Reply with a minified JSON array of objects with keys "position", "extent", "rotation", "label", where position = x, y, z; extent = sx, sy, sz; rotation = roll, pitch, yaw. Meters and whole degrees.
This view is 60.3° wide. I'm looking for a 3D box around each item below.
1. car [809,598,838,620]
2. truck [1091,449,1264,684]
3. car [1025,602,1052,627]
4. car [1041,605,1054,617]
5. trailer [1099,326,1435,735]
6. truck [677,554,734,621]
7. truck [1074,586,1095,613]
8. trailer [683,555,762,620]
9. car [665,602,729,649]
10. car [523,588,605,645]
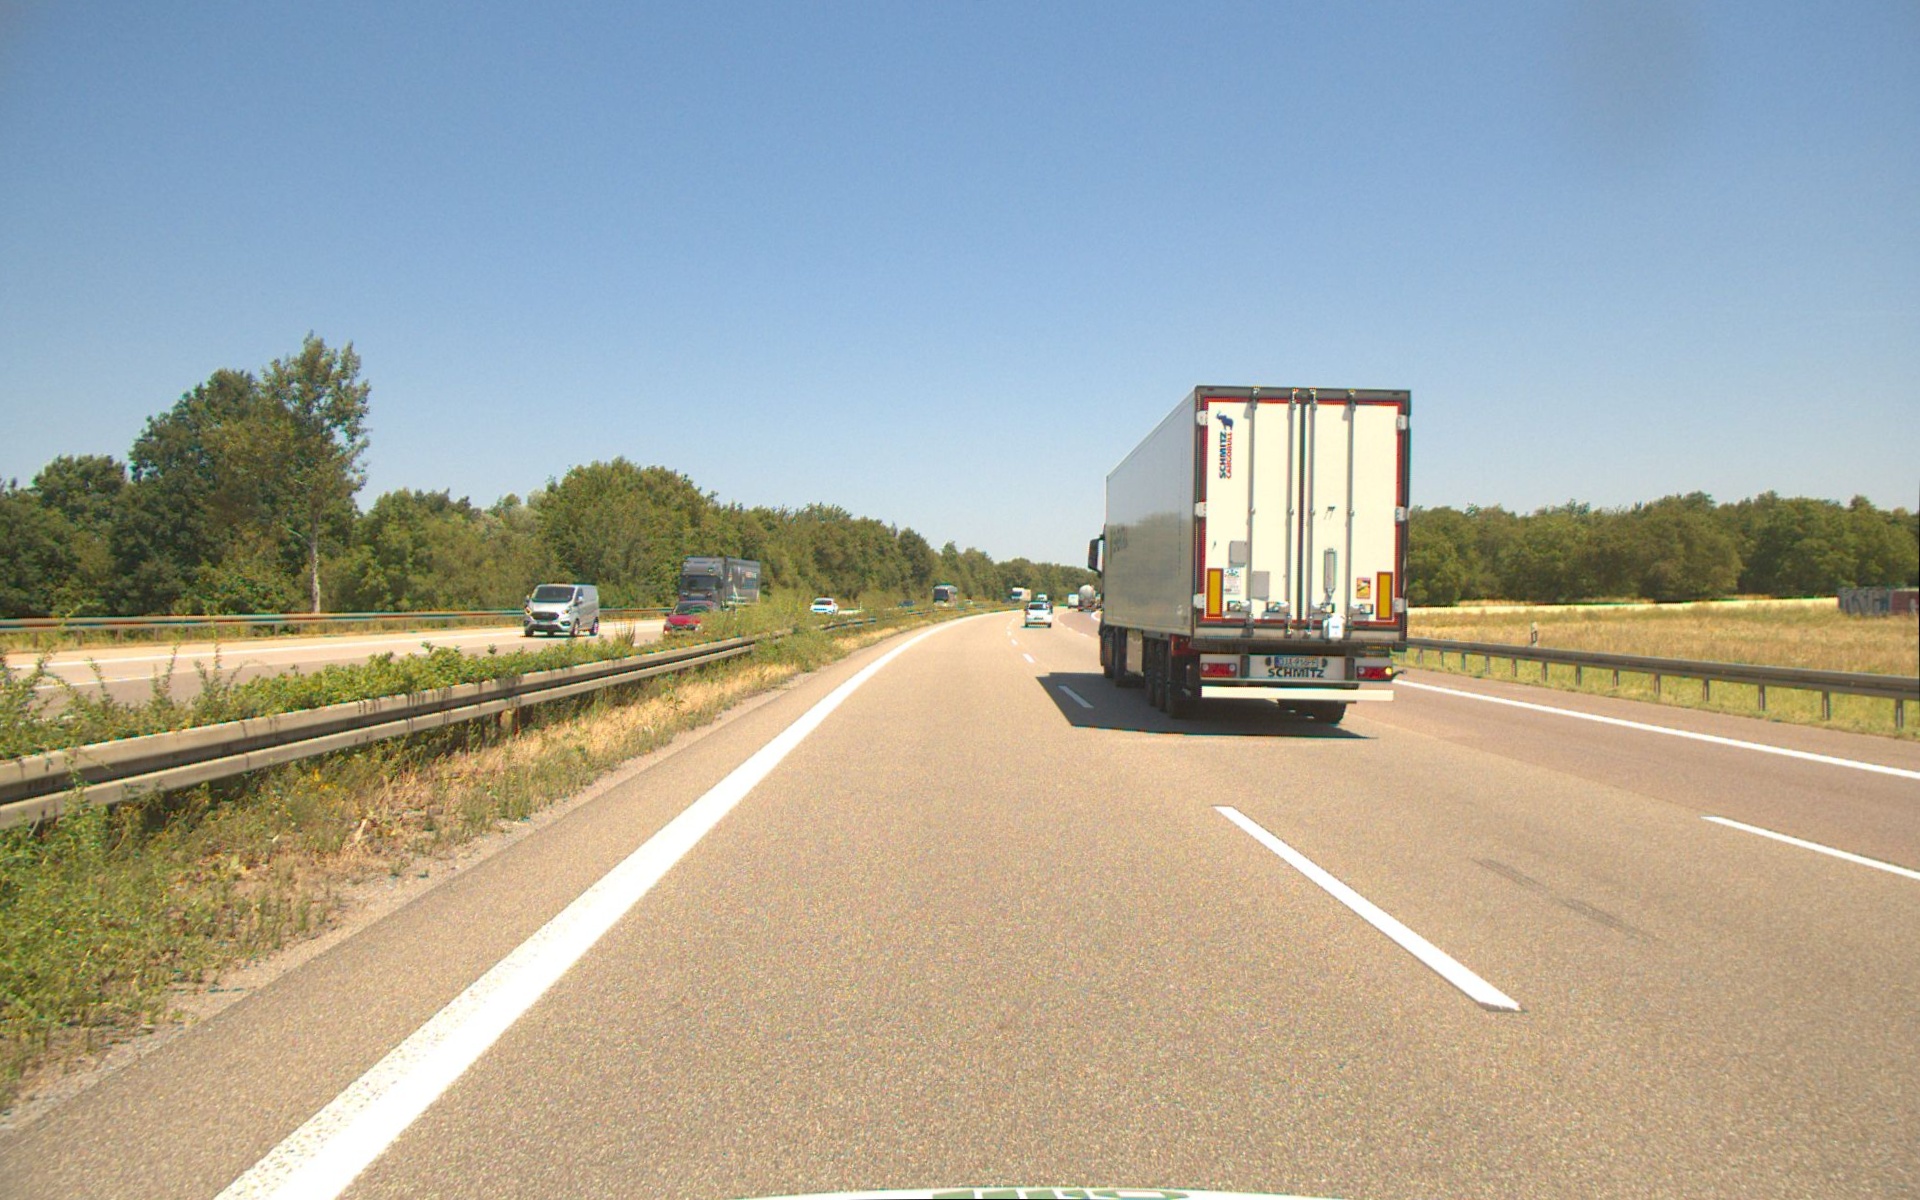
[{"position":[-10.385,0.701,126.142],"extent":[1.805,1.614,4.487],"rotation":[0,0,0],"label":"car"},{"position":[4.252,-0.619,33.323],"extent":[2.848,4.330,4.975],"rotation":[1,0,1],"label":"truck"},{"position":[4.970,0.893,103.960],"extent":[1.593,1.505,4.002],"rotation":[0,0,4],"label":"car"},{"position":[11.032,1.432,207.784],"extent":[1.593,1.505,4.001],"rotation":[0,0,3],"label":"car"},{"position":[4.178,-0.808,26.324],"extent":[2.841,4.739,13.987],"rotation":[1,0,1],"label":"trailer"},{"position":[-15.531,-0.737,101.236],"extent":[2.834,3.984,4.000],"rotation":[0,0,1],"label":"truck"},{"position":[19.143,-0.044,253.914],"extent":[2.681,4.123,10.461],"rotation":[0,0,7],"label":"truck"},{"position":[-15.388,-0.757,108.436],"extent":[2.821,4.017,14.059],"rotation":[0,0,1],"label":"trailer"},{"position":[-8.891,0.846,56.123],"extent":[1.660,1.518,4.136],"rotation":[0,0,-2],"label":"car"},{"position":[-15.248,0.601,63.978],"extent":[2.017,2.107,5.406],"rotation":[0,0,-2],"label":"car"}]
